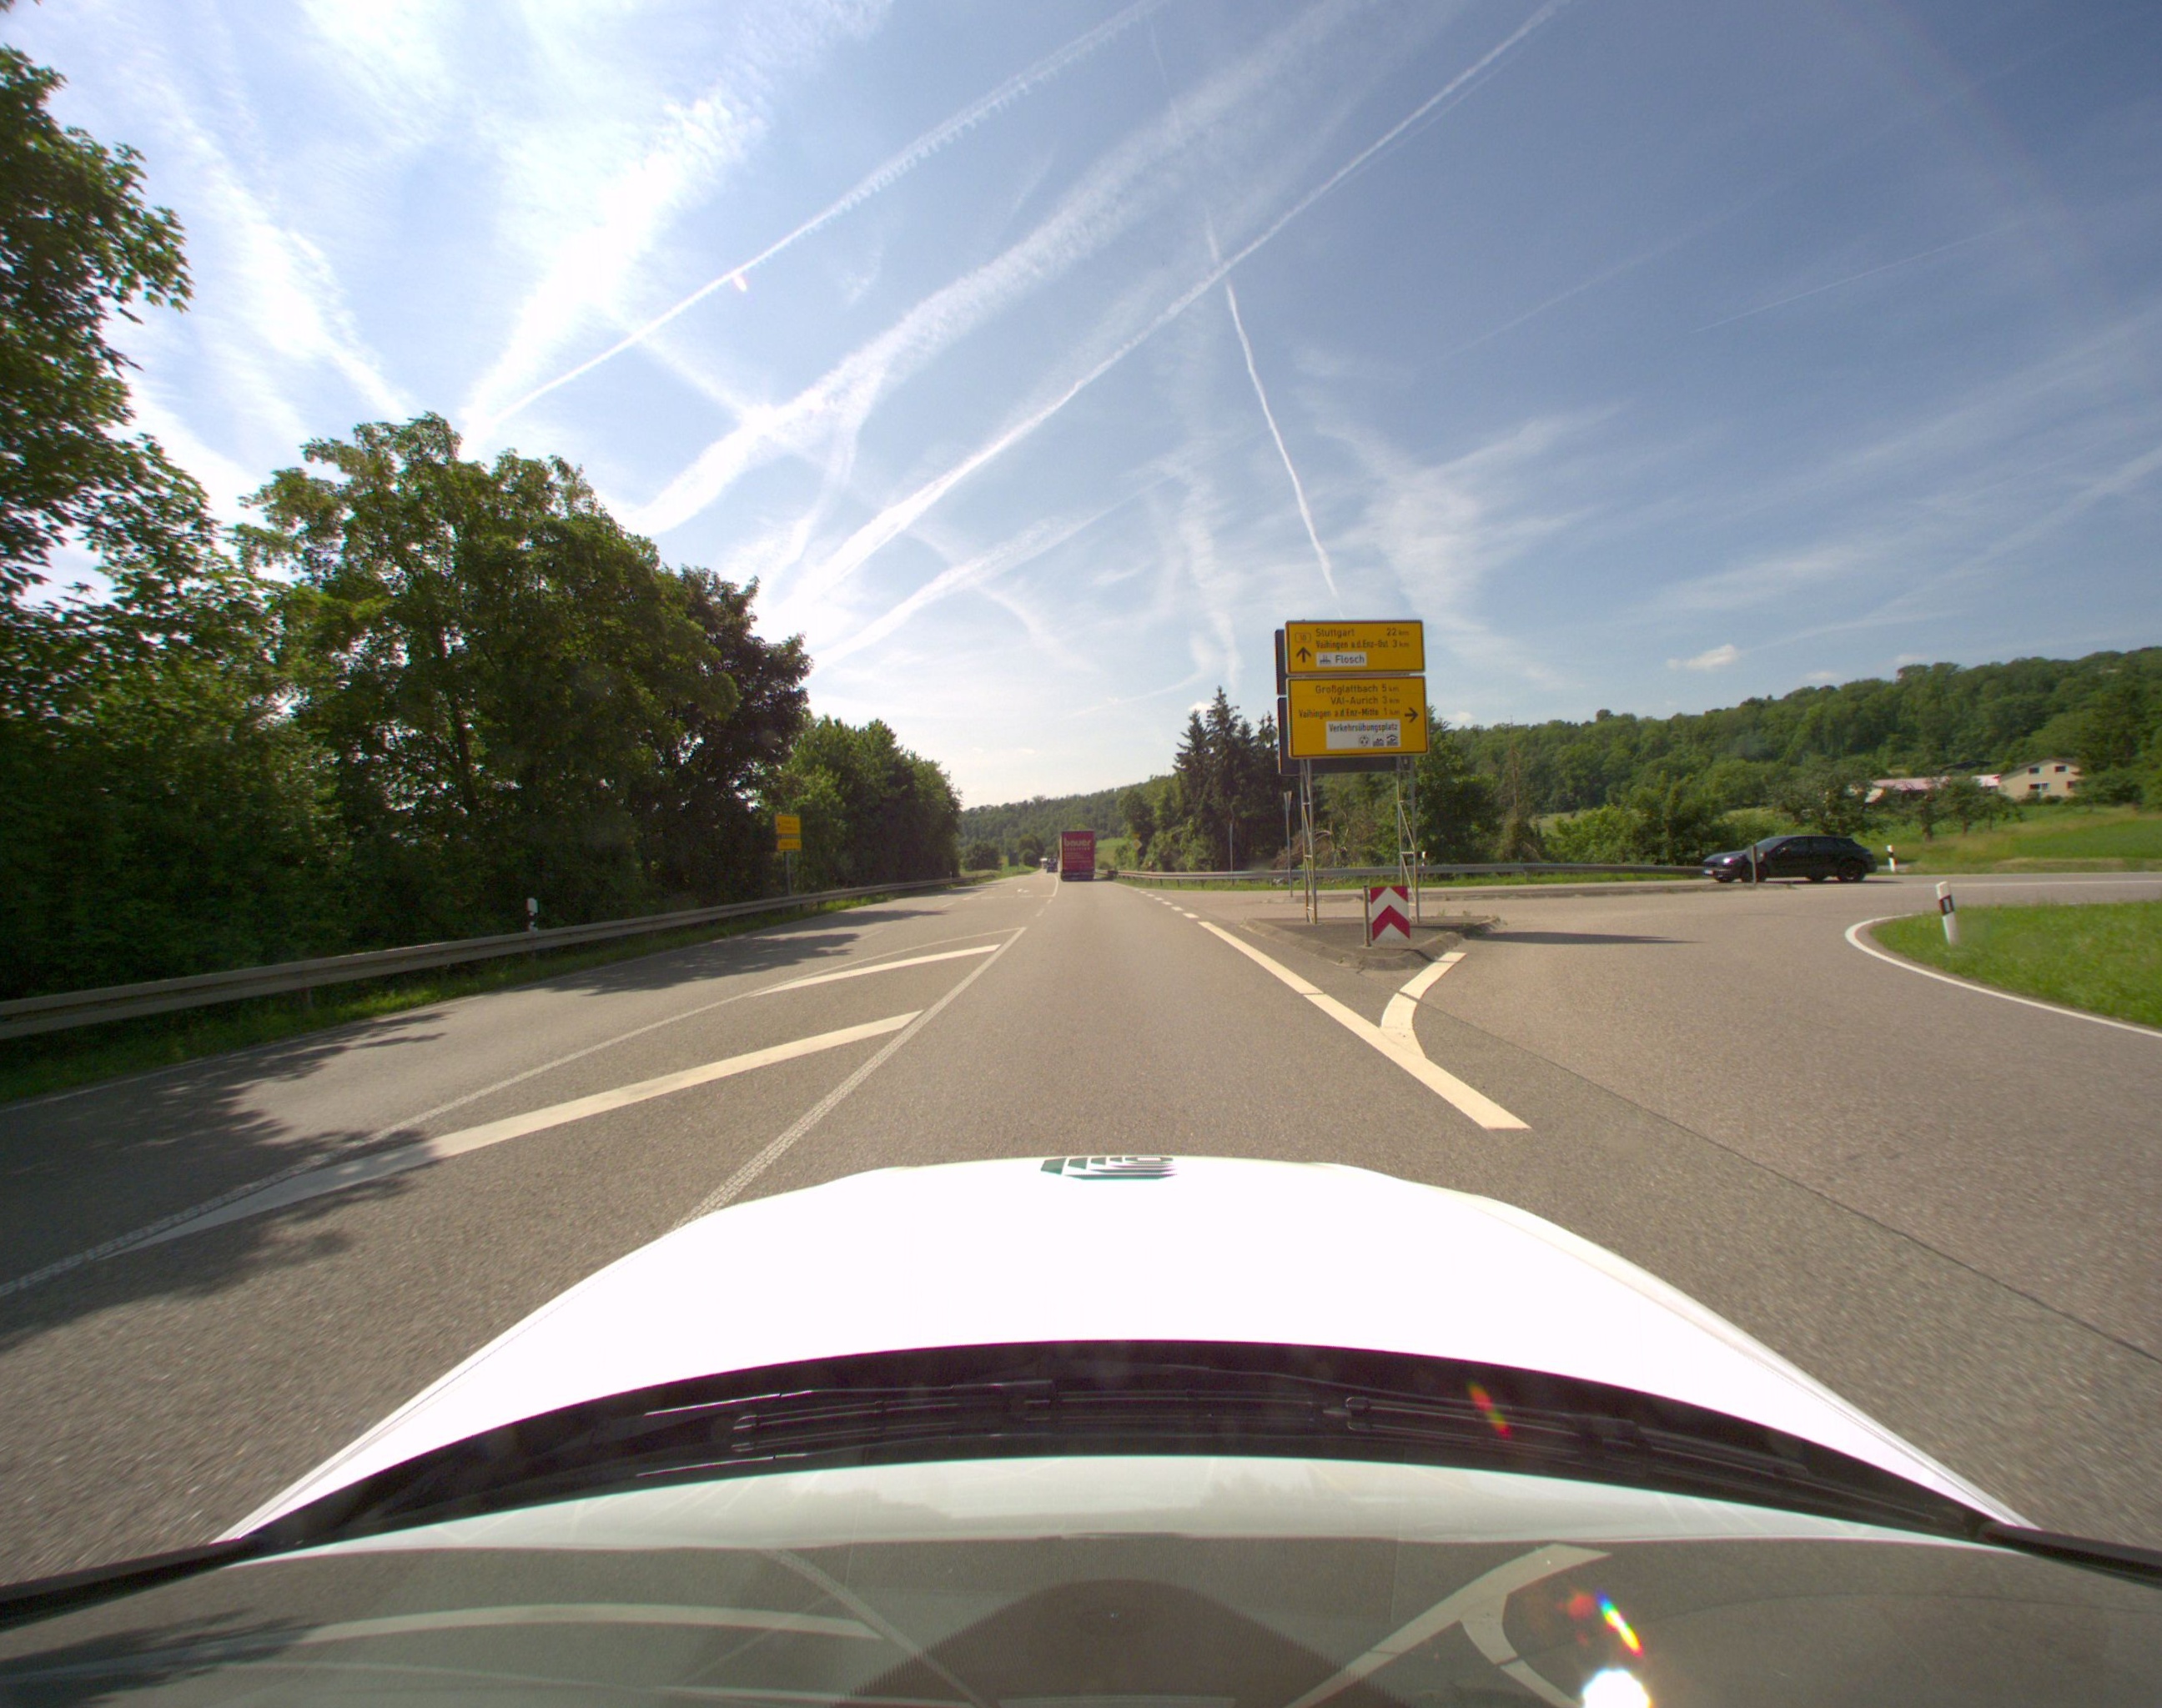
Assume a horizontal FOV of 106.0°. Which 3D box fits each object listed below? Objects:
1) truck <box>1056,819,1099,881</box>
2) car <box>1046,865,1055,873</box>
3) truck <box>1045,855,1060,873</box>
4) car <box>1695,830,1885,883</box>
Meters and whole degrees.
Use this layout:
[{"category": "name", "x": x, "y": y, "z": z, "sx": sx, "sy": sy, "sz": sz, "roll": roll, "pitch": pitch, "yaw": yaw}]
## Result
[{"category": "truck", "x": -0.354, "y": -0.255, "z": 69.191, "sx": 3.163, "sy": 4.625, "sz": 13.537, "roll": -2, "pitch": -1, "yaw": -1}, {"category": "car", "x": -6.943, "y": 3.347, "z": 184.421, "sx": 1.989, "sy": 1.810, "sz": 3.995, "roll": 1, "pitch": -1, "yaw": -3}, {"category": "truck", "x": -7.651, "y": 2.707, "z": 215.833, "sx": 3.895, "sy": 4.370, "sz": 13.278, "roll": 0, "pitch": -1, "yaw": -2}, {"category": "car", "x": 23.874, "y": 0.095, "z": 27.640, "sx": 4.384, "sy": 1.590, "sz": 2.071, "roll": -2, "pitch": -1, "yaw": 13}]
